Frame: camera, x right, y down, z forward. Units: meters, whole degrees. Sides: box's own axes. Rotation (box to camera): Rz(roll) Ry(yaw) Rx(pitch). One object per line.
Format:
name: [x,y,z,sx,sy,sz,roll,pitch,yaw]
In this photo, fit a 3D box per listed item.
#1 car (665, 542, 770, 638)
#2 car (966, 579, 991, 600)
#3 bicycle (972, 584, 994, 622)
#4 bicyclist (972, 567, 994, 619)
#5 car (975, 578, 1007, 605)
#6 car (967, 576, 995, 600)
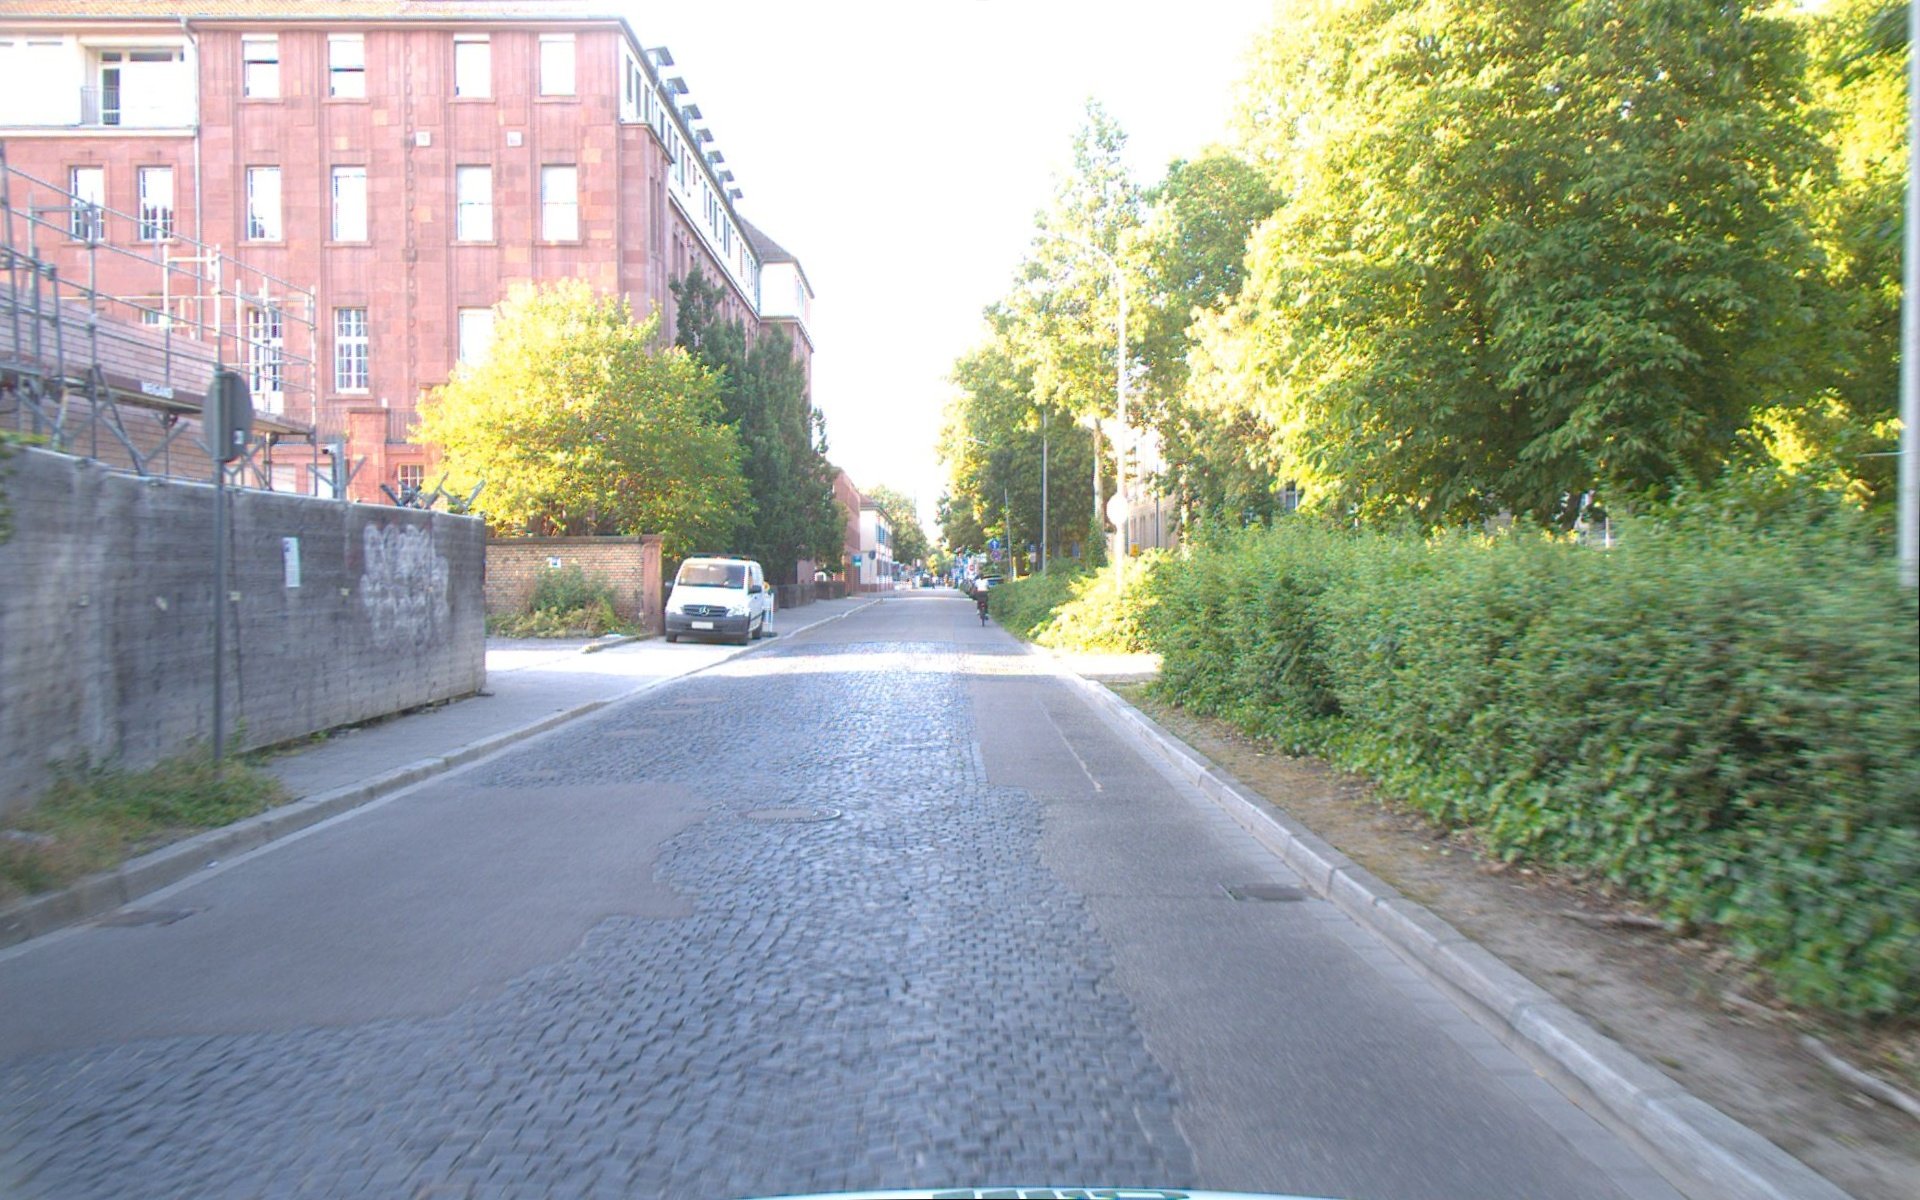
car: [-5.588,-0.232,38.647,1.845,2.049,5.224,1,0,-2]
car: [1.420,-0.783,126.223,1.681,1.564,4.047,0,1,-3]
bicycle: [0.763,0.075,55.241,0.625,1.213,1.875,1,1,-2]
bicyclist: [0.765,-0.238,55.245,0.626,1.696,0.842,1,1,-3]
car: [1.820,-0.500,97.947,1.651,1.472,3.670,-3,0,-2]
car: [1.407,-0.836,112.002,1.681,1.564,4.047,0,1,-3]
